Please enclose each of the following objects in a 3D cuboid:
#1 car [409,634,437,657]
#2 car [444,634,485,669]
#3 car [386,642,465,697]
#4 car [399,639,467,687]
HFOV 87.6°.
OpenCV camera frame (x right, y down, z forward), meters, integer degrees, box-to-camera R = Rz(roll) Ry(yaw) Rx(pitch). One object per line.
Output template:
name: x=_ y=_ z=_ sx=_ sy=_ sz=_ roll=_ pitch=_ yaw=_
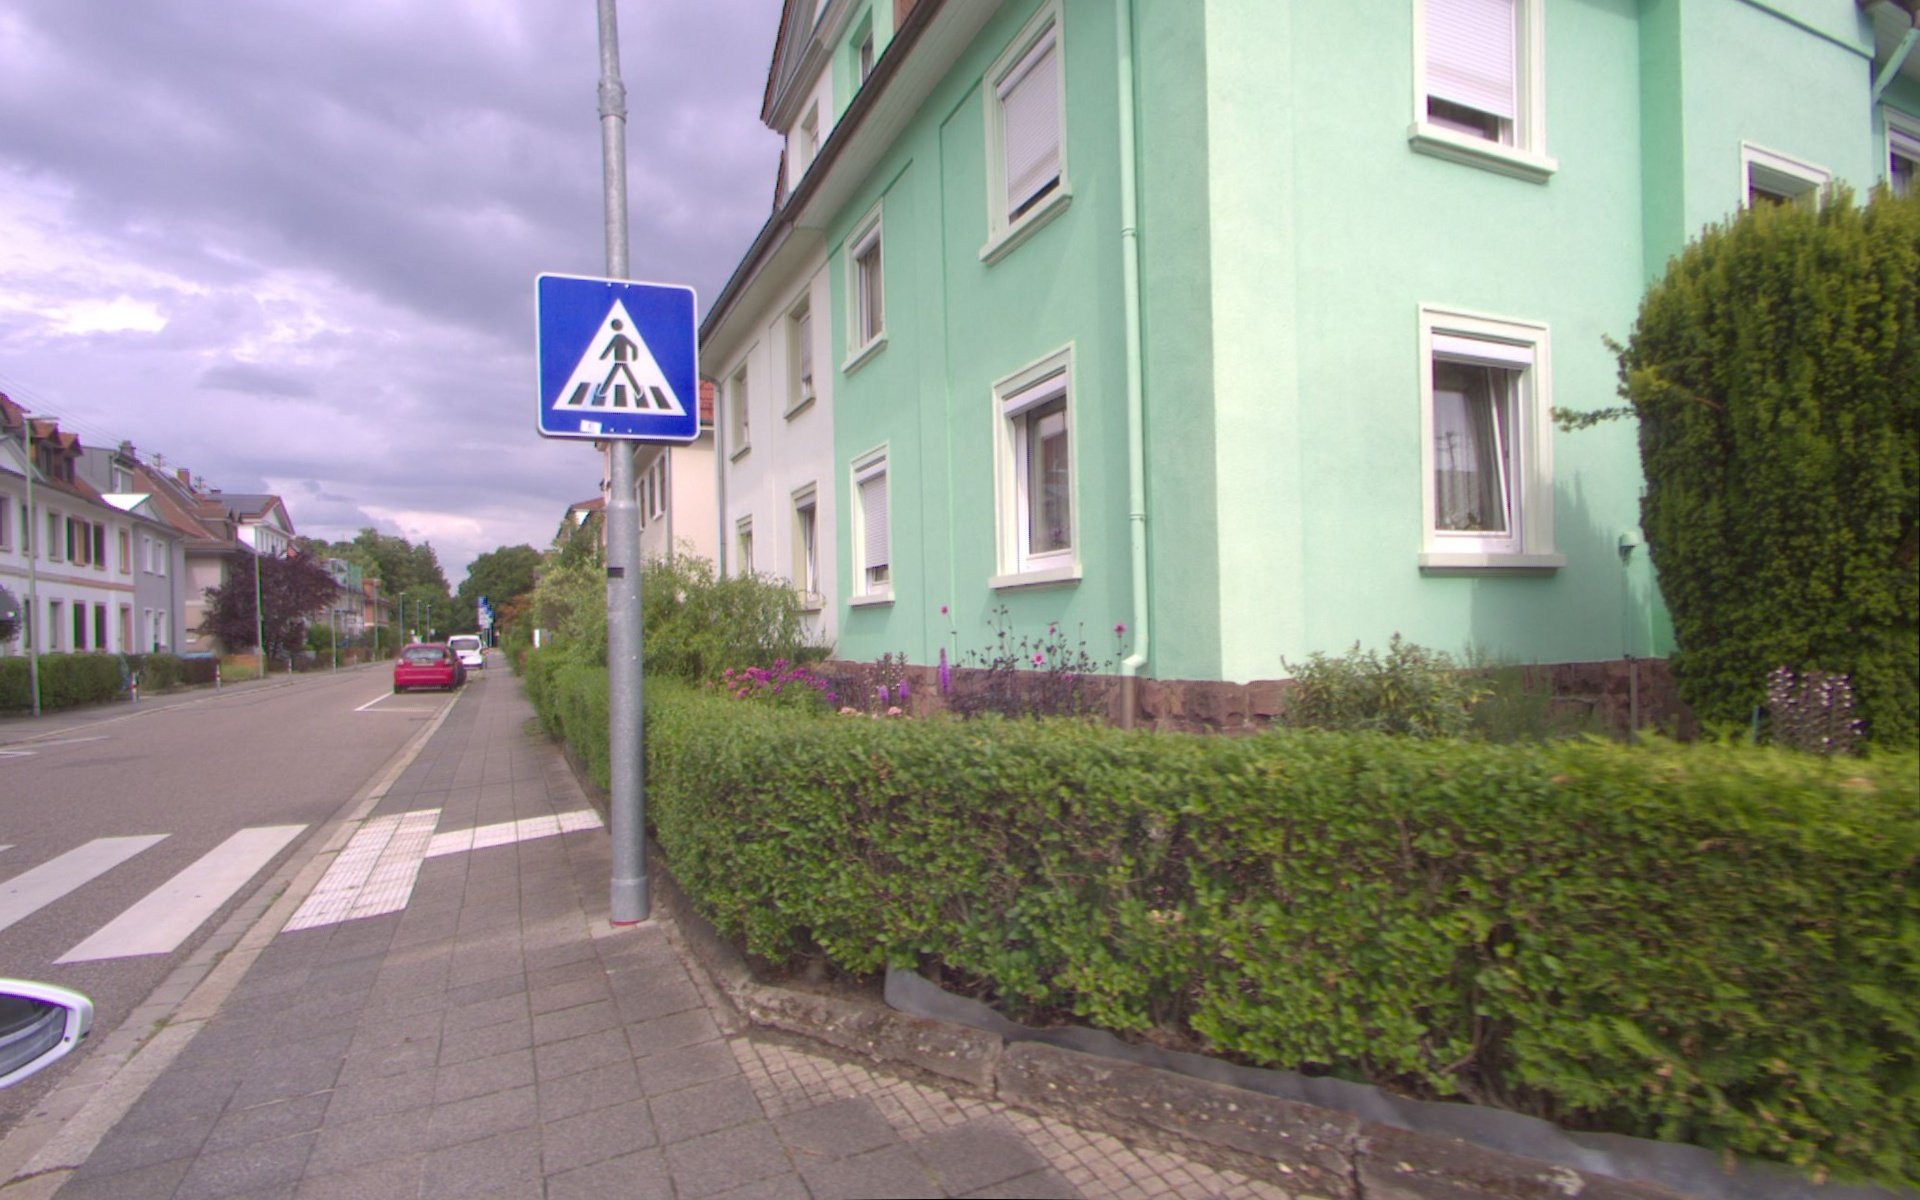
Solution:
car: x=-49.248 y=4.145 z=91.906 sx=1.968 sy=2.039 sz=3.987 roll=-1 pitch=-2 yaw=-25
car: x=-28.519 y=2.930 z=57.671 sx=1.968 sy=1.928 sz=3.987 roll=-1 pitch=-2 yaw=-25
car: x=-17.026 y=2.160 z=32.073 sx=1.968 sy=1.594 sz=3.987 roll=-1 pitch=-2 yaw=-25
car: x=-19.283 y=2.256 z=36.755 sx=1.968 sy=1.594 sz=3.987 roll=-1 pitch=-2 yaw=-25
